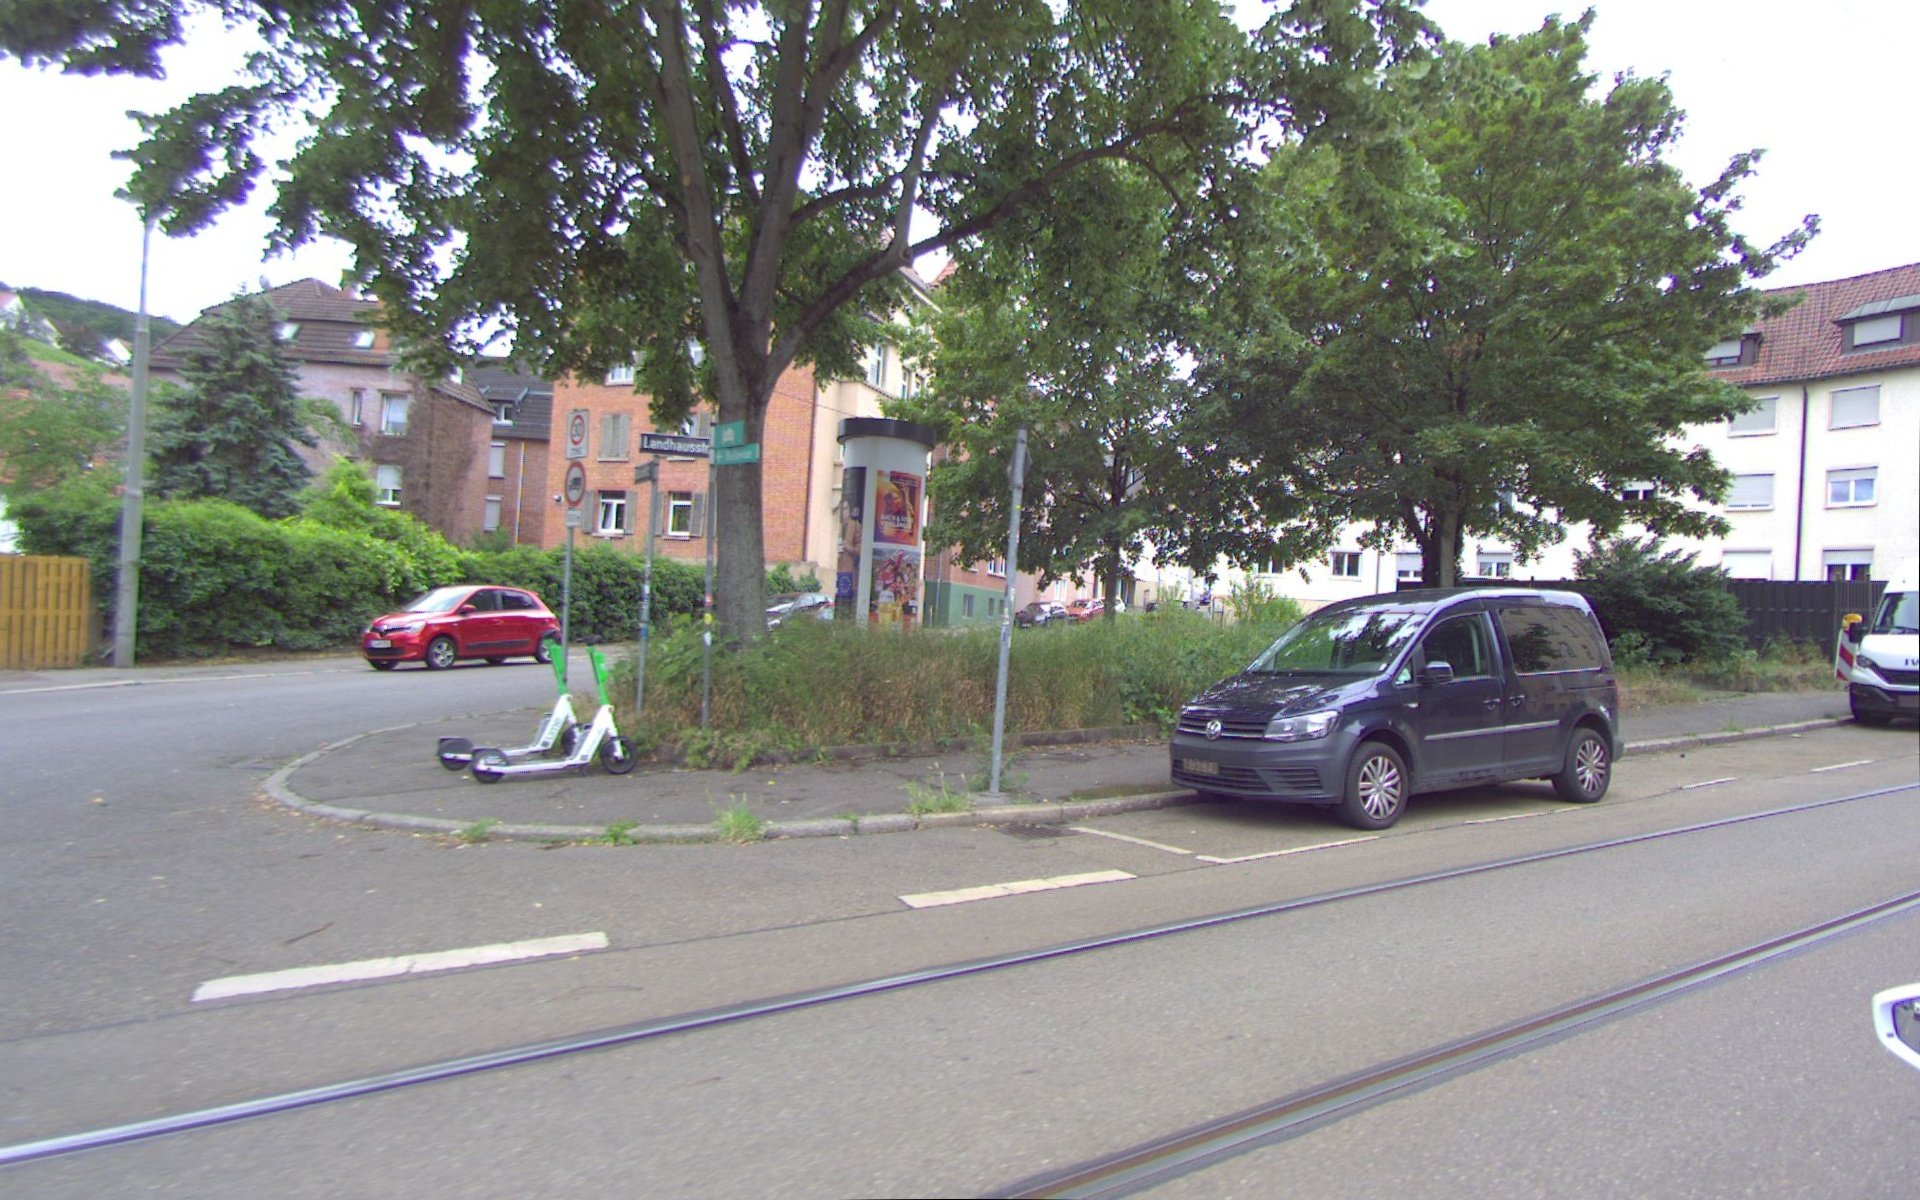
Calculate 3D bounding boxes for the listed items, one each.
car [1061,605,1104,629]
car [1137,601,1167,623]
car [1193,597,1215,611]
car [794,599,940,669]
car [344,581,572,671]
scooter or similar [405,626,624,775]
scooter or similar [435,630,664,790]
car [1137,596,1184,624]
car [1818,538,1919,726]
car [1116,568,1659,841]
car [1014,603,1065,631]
[{"bbox_3d":[6.997,0.917,57.084,1.429,1.252,3.778,2,1,23],"label":"car"},{"bbox_3d":[14.664,0.947,76.460,1.429,1.498,3.780,2,-1,23],"label":"car"},{"bbox_3d":[23.751,0.410,97.752,1.429,1.252,3.419,2,1,23],"label":"car"},{"bbox_3d":[-2.079,0.720,23.337,1.622,1.434,3.726,2,1,27],"label":"car"},{"bbox_3d":[-9.419,0.432,19.139,1.716,1.497,3.611,2,1,23],"label":"car"},{"bbox_3d":[-3.825,0.829,8.699,1.697,1.161,0.310,-1,2,-30],"label":"scooter or similar"},{"bbox_3d":[-3.310,0.856,8.191,1.697,1.161,0.310,-1,2,-30],"label":"scooter or similar"},{"bbox_3d":[10.779,0.511,53.845,1.644,1.434,3.728,2,1,24],"label":"car"},{"bbox_3d":[16.076,0.479,15.766,6.149,2.641,2.147,1,-2,-32],"label":"car"},{"bbox_3d":[3.710,0.769,8.534,4.611,1.798,1.755,1,-3,-29],"label":"car"},{"bbox_3d":[3.988,0.828,49.977,1.429,1.252,3.419,2,1,23],"label":"car"}]
